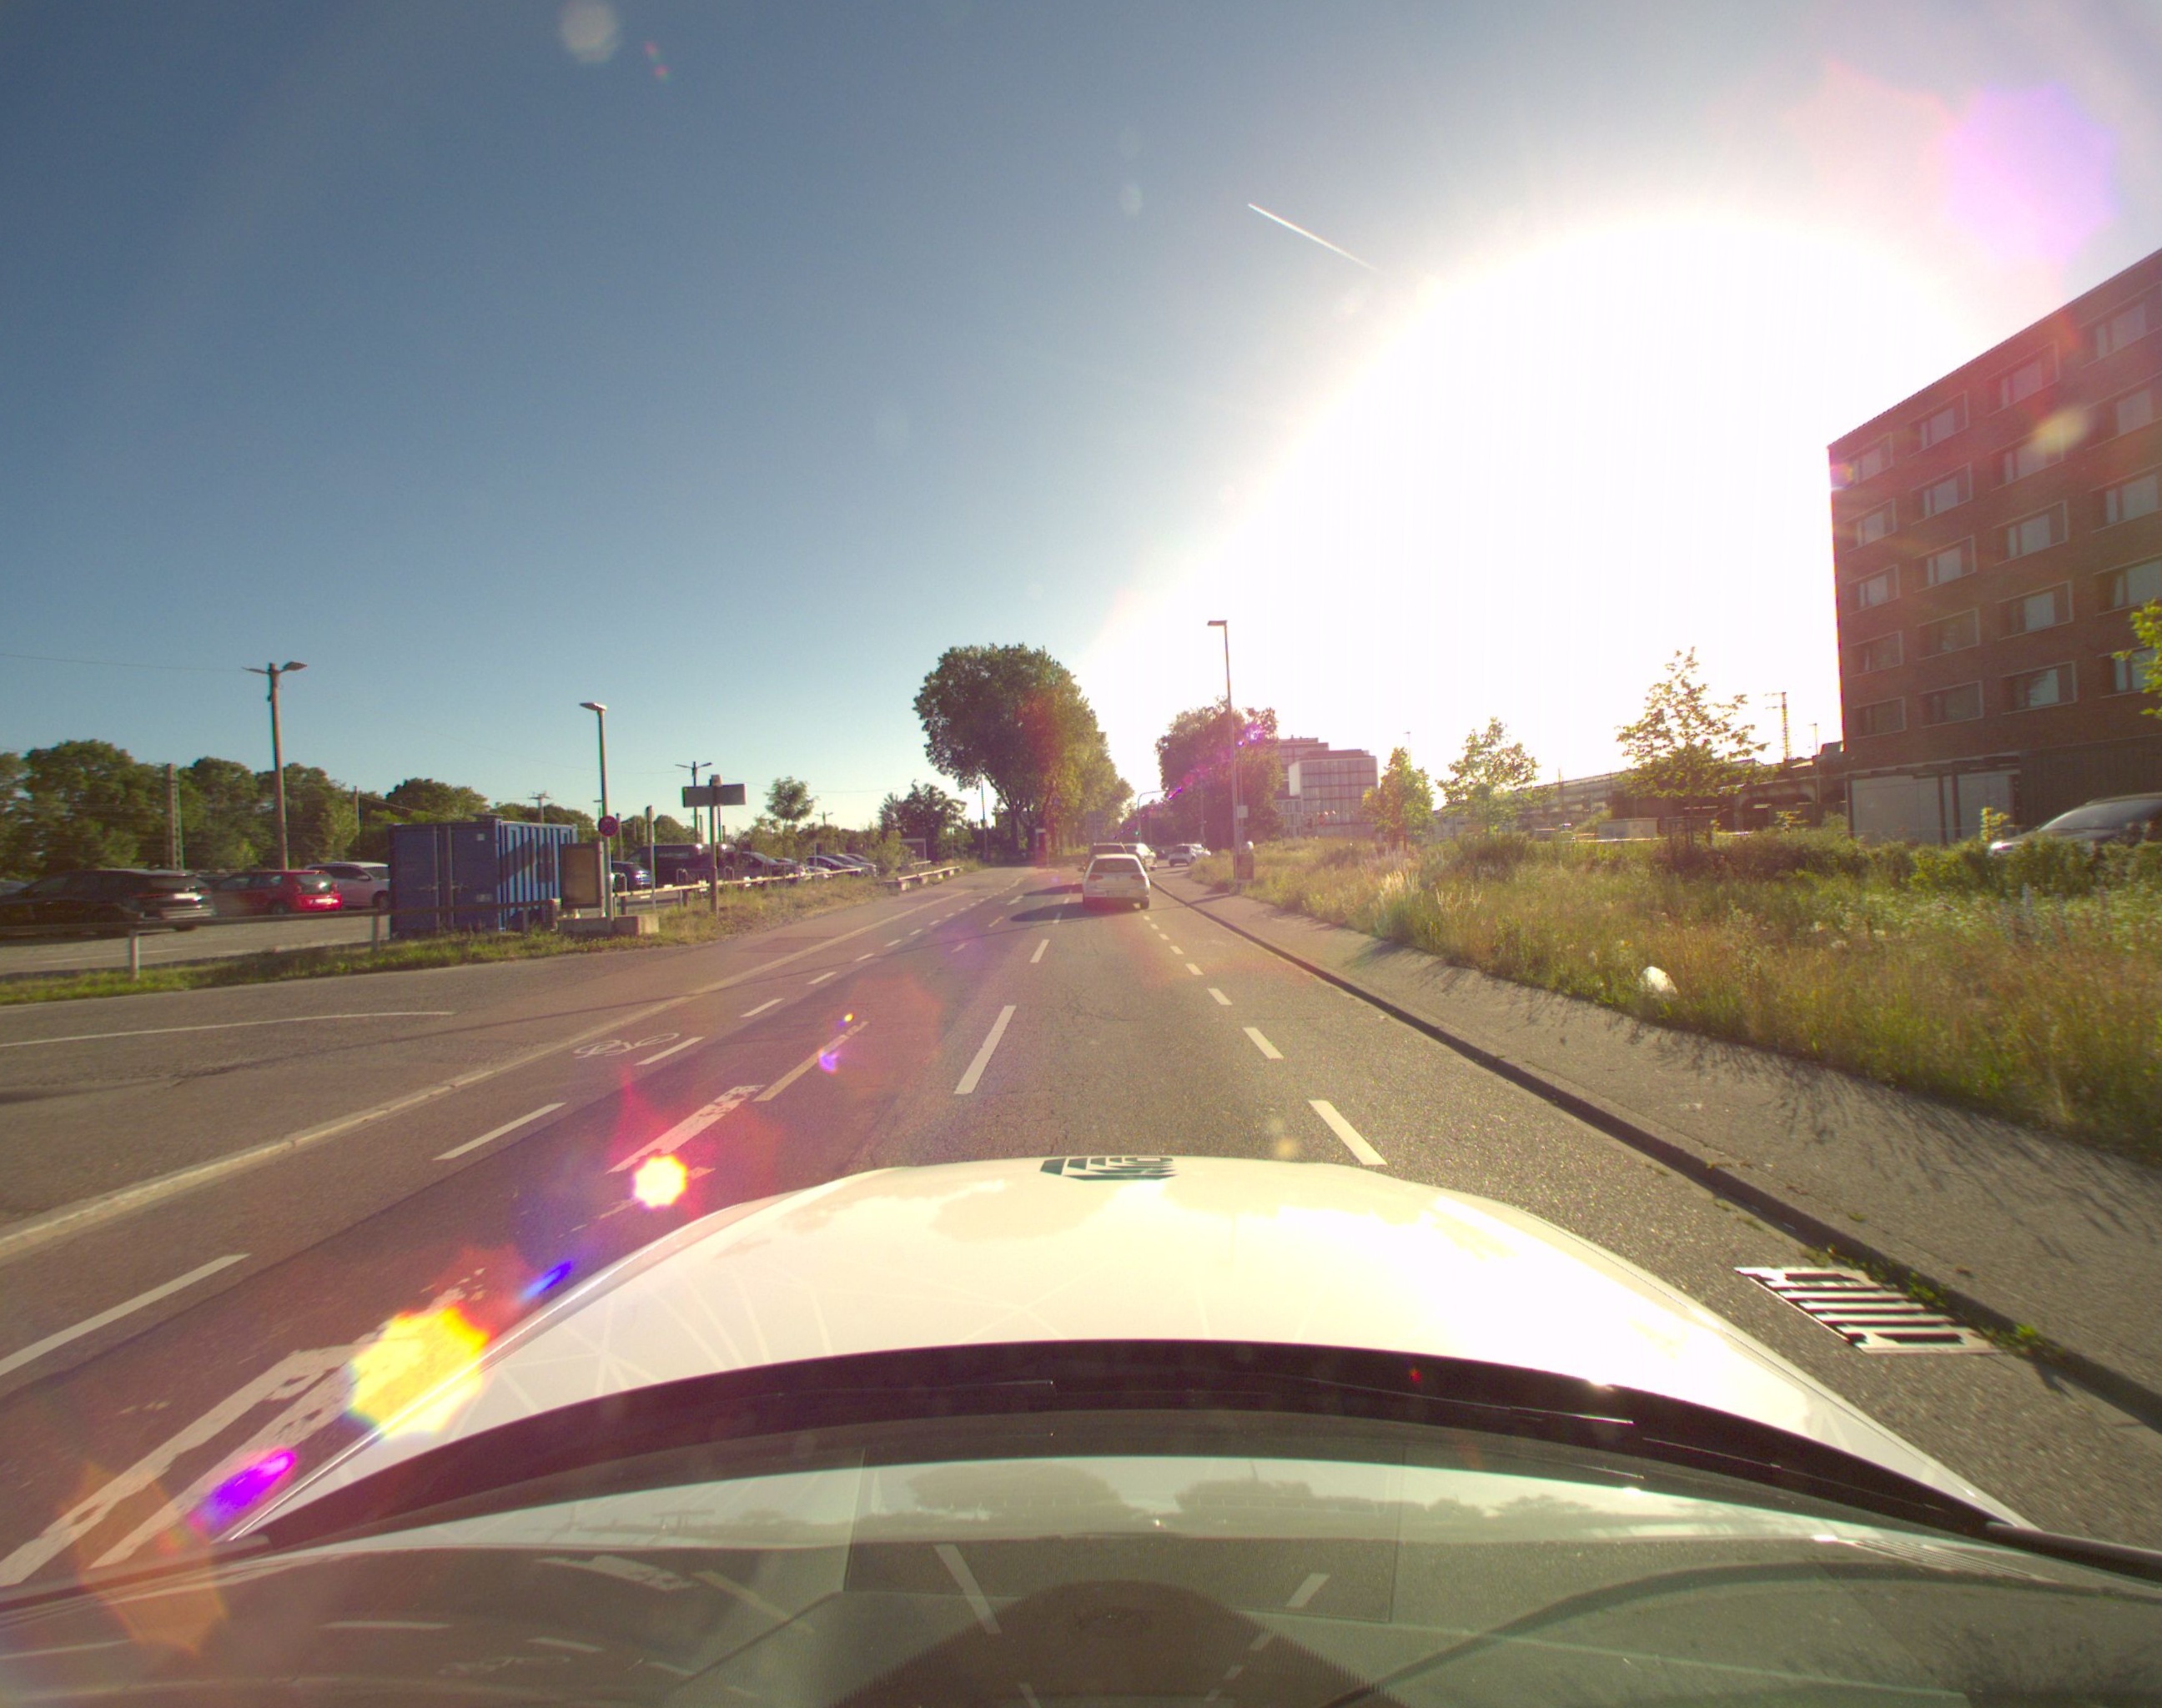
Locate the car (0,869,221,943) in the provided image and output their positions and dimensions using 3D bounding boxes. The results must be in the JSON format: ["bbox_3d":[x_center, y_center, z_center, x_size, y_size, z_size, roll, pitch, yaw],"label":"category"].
[{"bbox_3d":[-24.002,1.228,19.907,3.871,1.603,1.878,-1,0,-1],"label":"car"}]

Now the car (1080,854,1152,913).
[{"bbox_3d":[0.915,0.742,22.522,1.784,1.420,4.000,-1,0,1],"label":"car"}]

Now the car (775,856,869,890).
[{"bbox_3d":[-12.951,0.947,40.921,4.076,1.557,1.878,-1,0,-1],"label":"car"}]

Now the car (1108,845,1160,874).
[{"bbox_3d":[3.126,0.295,47.018,1.898,1.529,4.429,-1,0,19],"label":"car"}]

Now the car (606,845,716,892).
[{"bbox_3d":[-23.517,0.792,45.752,4.911,2.459,2.319,-1,0,-1],"label":"car"}]

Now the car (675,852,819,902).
[{"bbox_3d":[-13.245,0.877,32.508,4.831,1.835,1.999,-1,0,-1],"label":"car"}]

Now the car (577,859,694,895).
[{"bbox_3d":[-23.564,1.208,43.217,4.911,1.705,2.166,-1,0,-1],"label":"car"}]

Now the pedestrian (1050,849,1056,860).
[{"bbox_3d":[-3.658,0.007,106.730,0.676,1.415,0.684,-1,0,1],"label":"pedestrian"}]

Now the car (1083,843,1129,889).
[{"bbox_3d":[1.048,0.468,34.602,1.812,1.769,4.631,-1,0,1],"label":"car"}]

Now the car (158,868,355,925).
[{"bbox_3d":[-24.501,1.238,24.305,3.871,1.520,1.878,-1,0,-1],"label":"car"}]

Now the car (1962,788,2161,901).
[{"bbox_3d":[17.479,-0.176,13.338,3.970,1.706,1.853,-1,0,3],"label":"car"}]

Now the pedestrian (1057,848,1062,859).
[{"bbox_3d":[-2.792,-0.013,106.665,0.676,1.415,0.684,-1,0,1],"label":"pedestrian"}]

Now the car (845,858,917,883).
[{"bbox_3d":[-13.468,1.089,55.016,4.412,1.557,1.878,-1,0,-1],"label":"car"}]

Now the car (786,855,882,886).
[{"bbox_3d":[-13.183,0.873,43.726,4.528,1.557,1.878,-1,0,-1],"label":"car"}]

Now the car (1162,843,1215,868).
[{"bbox_3d":[7.518,0.091,56.463,1.880,1.596,4.026,-1,0,37],"label":"car"}]

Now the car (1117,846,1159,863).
[{"bbox_3d":[5.632,0.021,80.632,2.009,1.596,3.955,-1,0,-37],"label":"car"}]

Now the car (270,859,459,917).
[{"bbox_3d":[-23.800,1.093,27.167,4.560,1.741,2.060,-1,0,3],"label":"car"}]

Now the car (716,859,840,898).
[{"bbox_3d":[-13.131,1.035,35.502,4.580,1.557,1.999,-1,0,-1],"label":"car"}]

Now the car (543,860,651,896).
[{"bbox_3d":[-24.131,1.179,40.736,4.194,1.618,1.878,-1,0,-1],"label":"car"}]

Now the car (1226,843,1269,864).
[{"bbox_3d":[13.868,-0.038,67.663,2.142,1.684,4.026,-1,0,34],"label":"car"}]
